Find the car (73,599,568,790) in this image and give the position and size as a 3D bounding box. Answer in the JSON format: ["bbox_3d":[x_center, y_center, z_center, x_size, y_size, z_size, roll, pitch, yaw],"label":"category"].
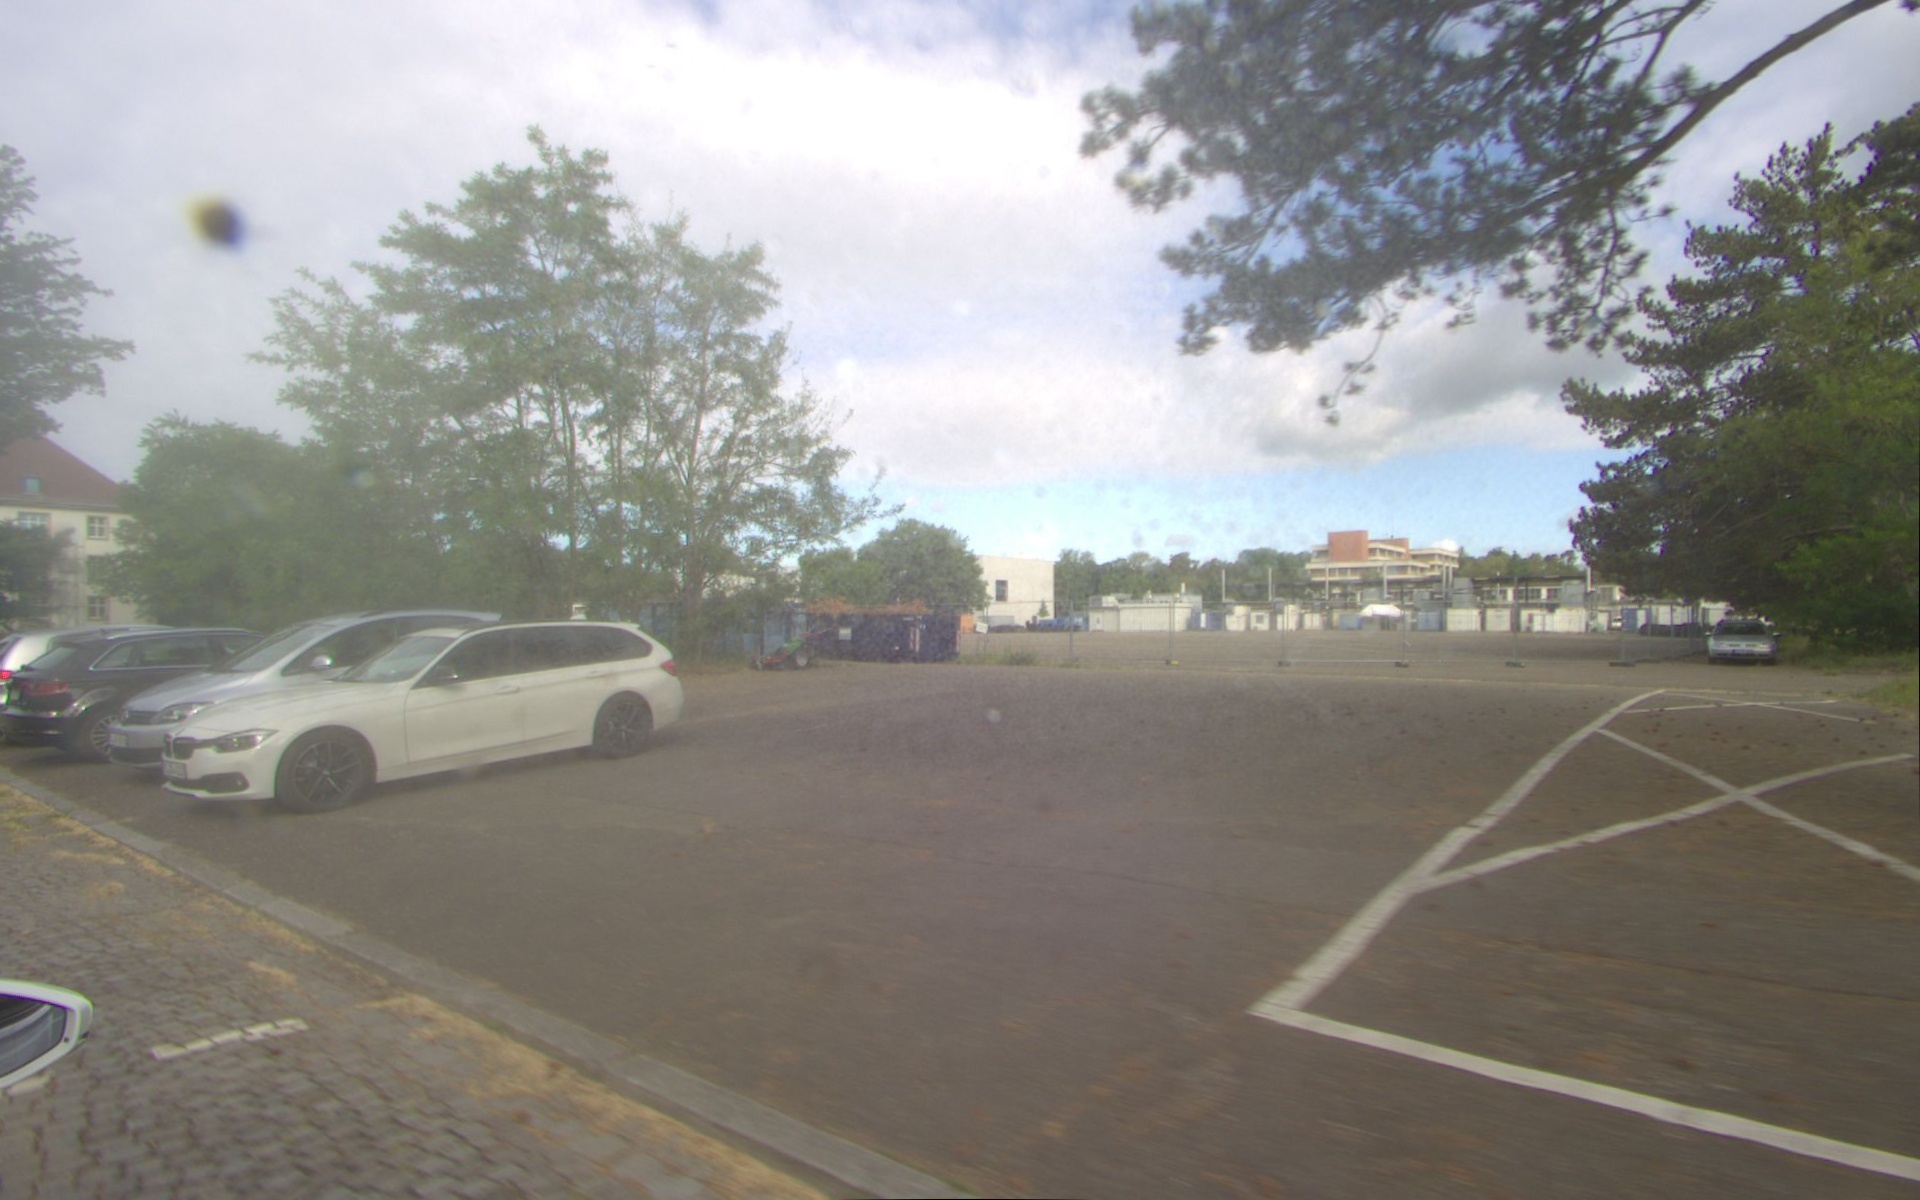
[{"bbox_3d":[-6.900,0.872,11.322,1.802,1.596,4.317,-1,1,33],"label":"car"}]

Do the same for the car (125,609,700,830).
[{"bbox_3d":[-4.927,0.914,9.713,1.803,1.445,4.534,-1,1,35],"label":"car"}]

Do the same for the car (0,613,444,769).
[{"bbox_3d":[-9.189,0.983,12.704,1.773,1.425,4.349,0,2,37],"label":"car"}]

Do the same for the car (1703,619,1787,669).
[{"bbox_3d":[25.599,1.392,32.781,1.839,1.493,4.127,0,-1,34],"label":"car"}]

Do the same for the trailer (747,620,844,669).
[{"bbox_3d":[-4.134,1.120,25.359,1.129,1.185,2.305,-1,-3,37],"label":"trailer"}]

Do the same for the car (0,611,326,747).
[{"bbox_3d":[-11.430,0.986,14.170,1.719,1.500,3.758,0,2,35],"label":"car"}]
